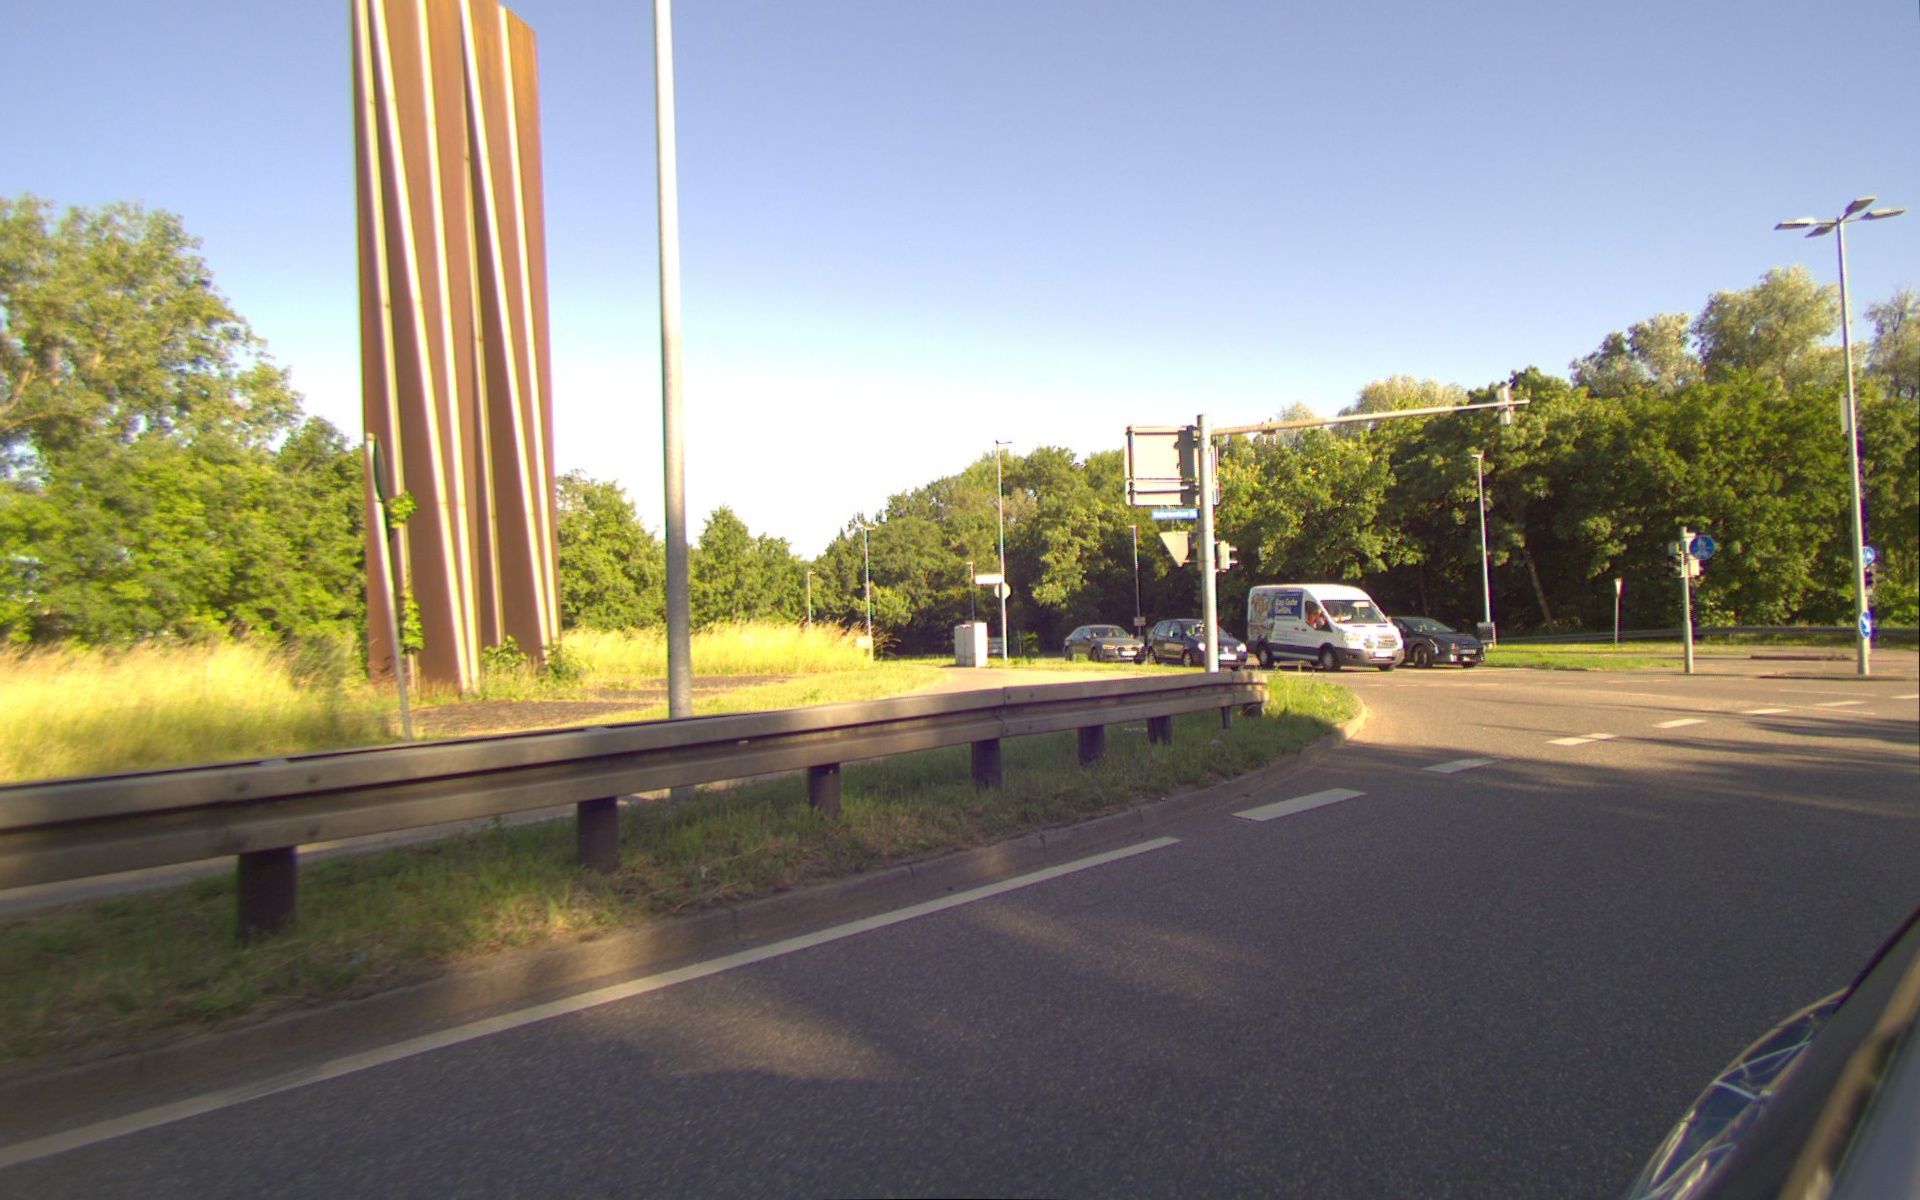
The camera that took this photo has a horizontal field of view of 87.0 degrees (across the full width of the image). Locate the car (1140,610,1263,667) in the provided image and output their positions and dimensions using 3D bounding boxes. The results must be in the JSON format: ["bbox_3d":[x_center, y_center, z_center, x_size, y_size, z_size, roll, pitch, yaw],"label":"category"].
[{"bbox_3d":[6.806,1.037,28.966,1.806,1.431,3.996,0,0,-13],"label":"car"}]

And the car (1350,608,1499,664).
[{"bbox_3d":[13.618,1.008,29.950,1.732,1.458,4.097,0,0,-16],"label":"car"}]

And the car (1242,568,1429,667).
[{"bbox_3d":[10.471,0.530,28.859,2.070,2.531,5.715,0,-2,-14],"label":"car"}]

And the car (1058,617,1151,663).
[{"bbox_3d":[4.949,1.350,35.247,1.613,1.408,4.299,0,0,-15],"label":"car"}]
